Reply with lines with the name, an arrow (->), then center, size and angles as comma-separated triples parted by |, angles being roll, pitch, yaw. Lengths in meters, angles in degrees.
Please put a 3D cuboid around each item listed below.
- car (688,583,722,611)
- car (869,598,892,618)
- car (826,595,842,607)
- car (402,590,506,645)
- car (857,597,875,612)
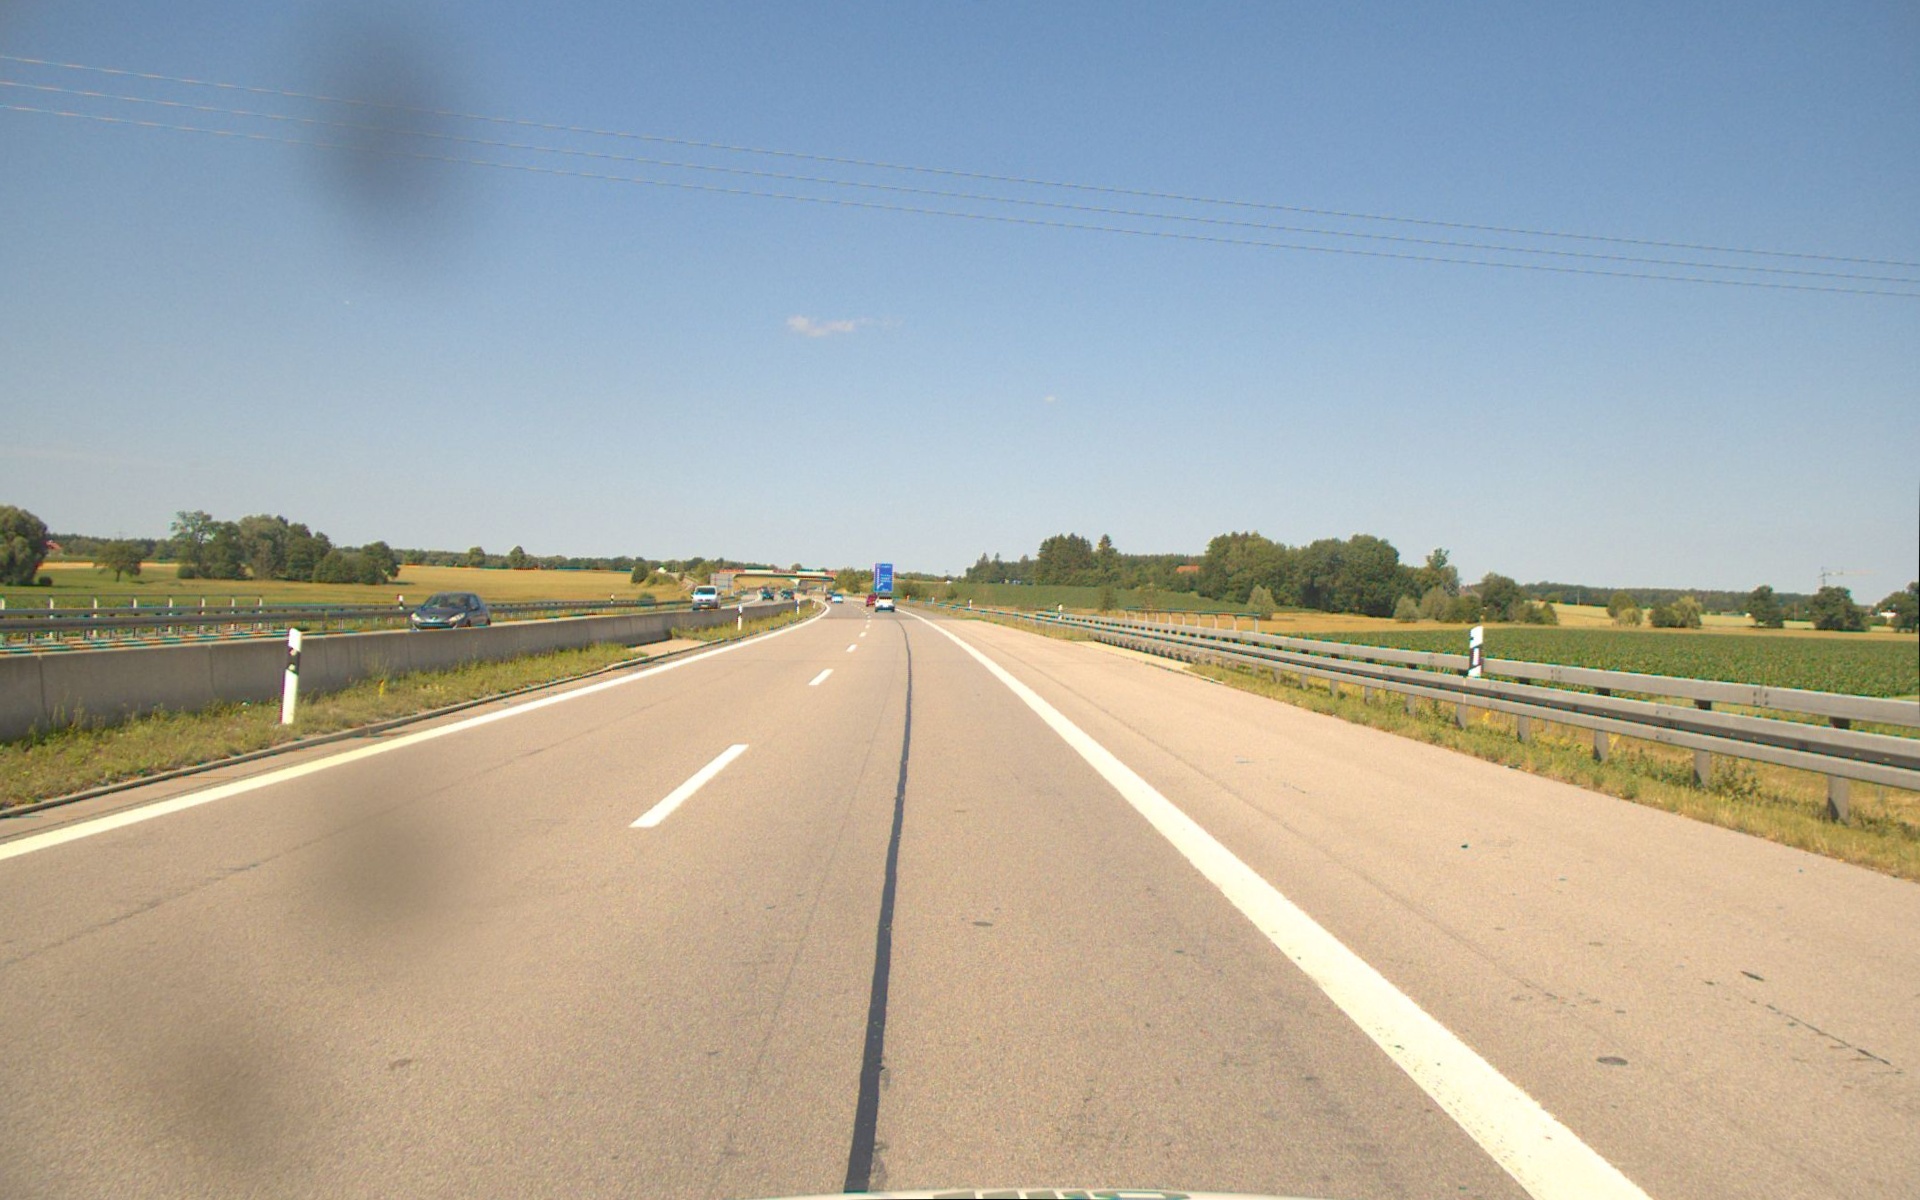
car -> -19.474, -0.211, 126.357 | 1.954, 2.049, 5.610 | 1, 0, -3
car -> -7.392, 0.732, 153.135 | 1.955, 1.761, 4.864 | 1, 0, -5
car -> -18.876, 0.113, 247.746 | 1.956, 1.761, 4.861 | 1, 0, -8
car -> -15.424, 0.506, 50.680 | 1.822, 1.540, 4.584 | 2, 0, -2
car -> -11.542, 0.578, 203.574 | 1.955, 1.761, 4.863 | 1, 0, -6
